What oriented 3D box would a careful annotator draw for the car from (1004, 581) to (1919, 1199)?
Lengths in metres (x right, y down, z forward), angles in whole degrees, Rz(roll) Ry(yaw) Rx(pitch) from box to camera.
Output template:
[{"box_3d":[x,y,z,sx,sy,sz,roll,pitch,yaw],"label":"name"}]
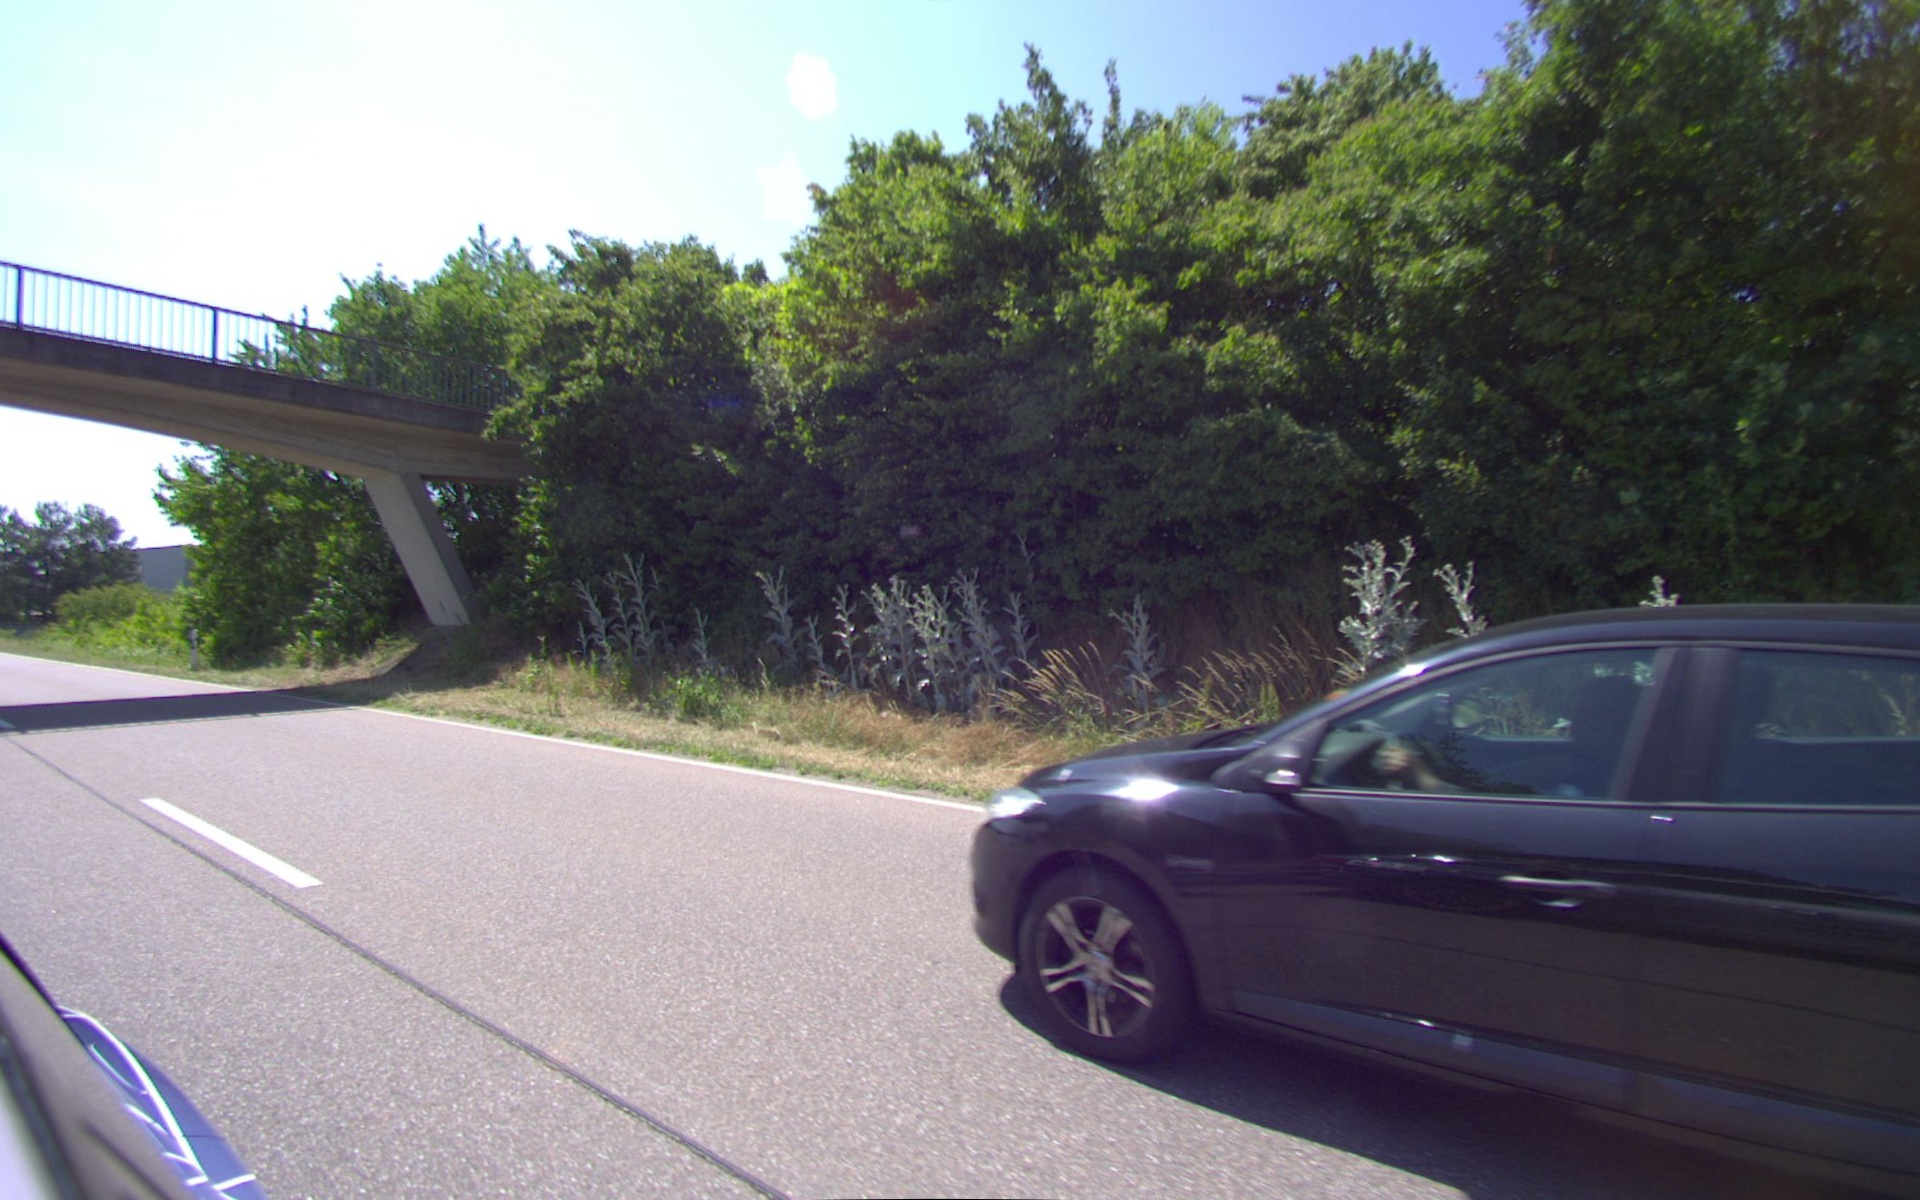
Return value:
[{"box_3d":[2.199,0.688,2.711,3.999,1.440,1.689,-1,-1,42],"label":"car"}]
